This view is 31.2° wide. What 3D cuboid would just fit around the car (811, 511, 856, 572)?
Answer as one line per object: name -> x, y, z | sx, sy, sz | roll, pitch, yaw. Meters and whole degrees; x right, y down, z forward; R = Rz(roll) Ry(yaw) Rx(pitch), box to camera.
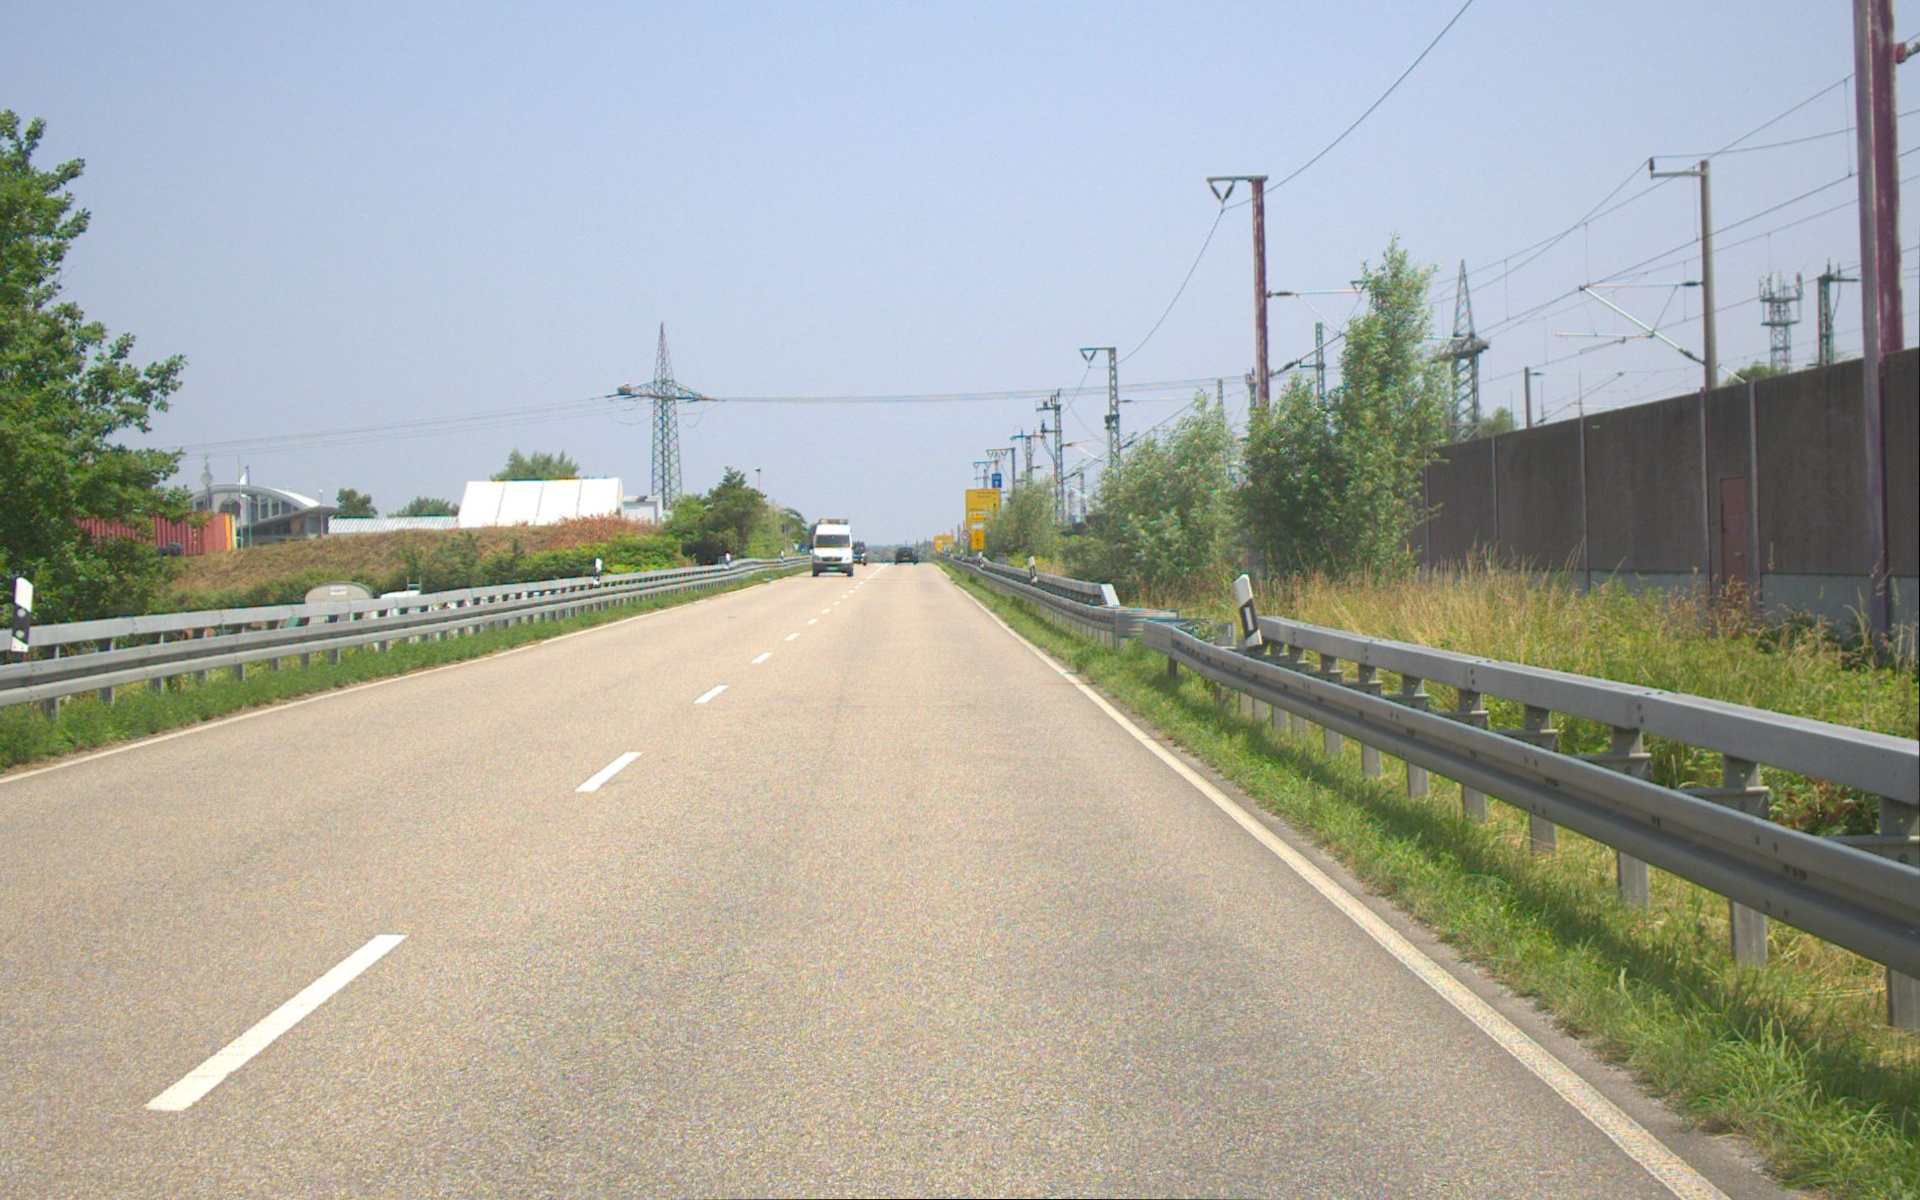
car -> -6.259, -2.908, 170.883 | 2.079, 2.952, 6.730 | 0, 1, -1
